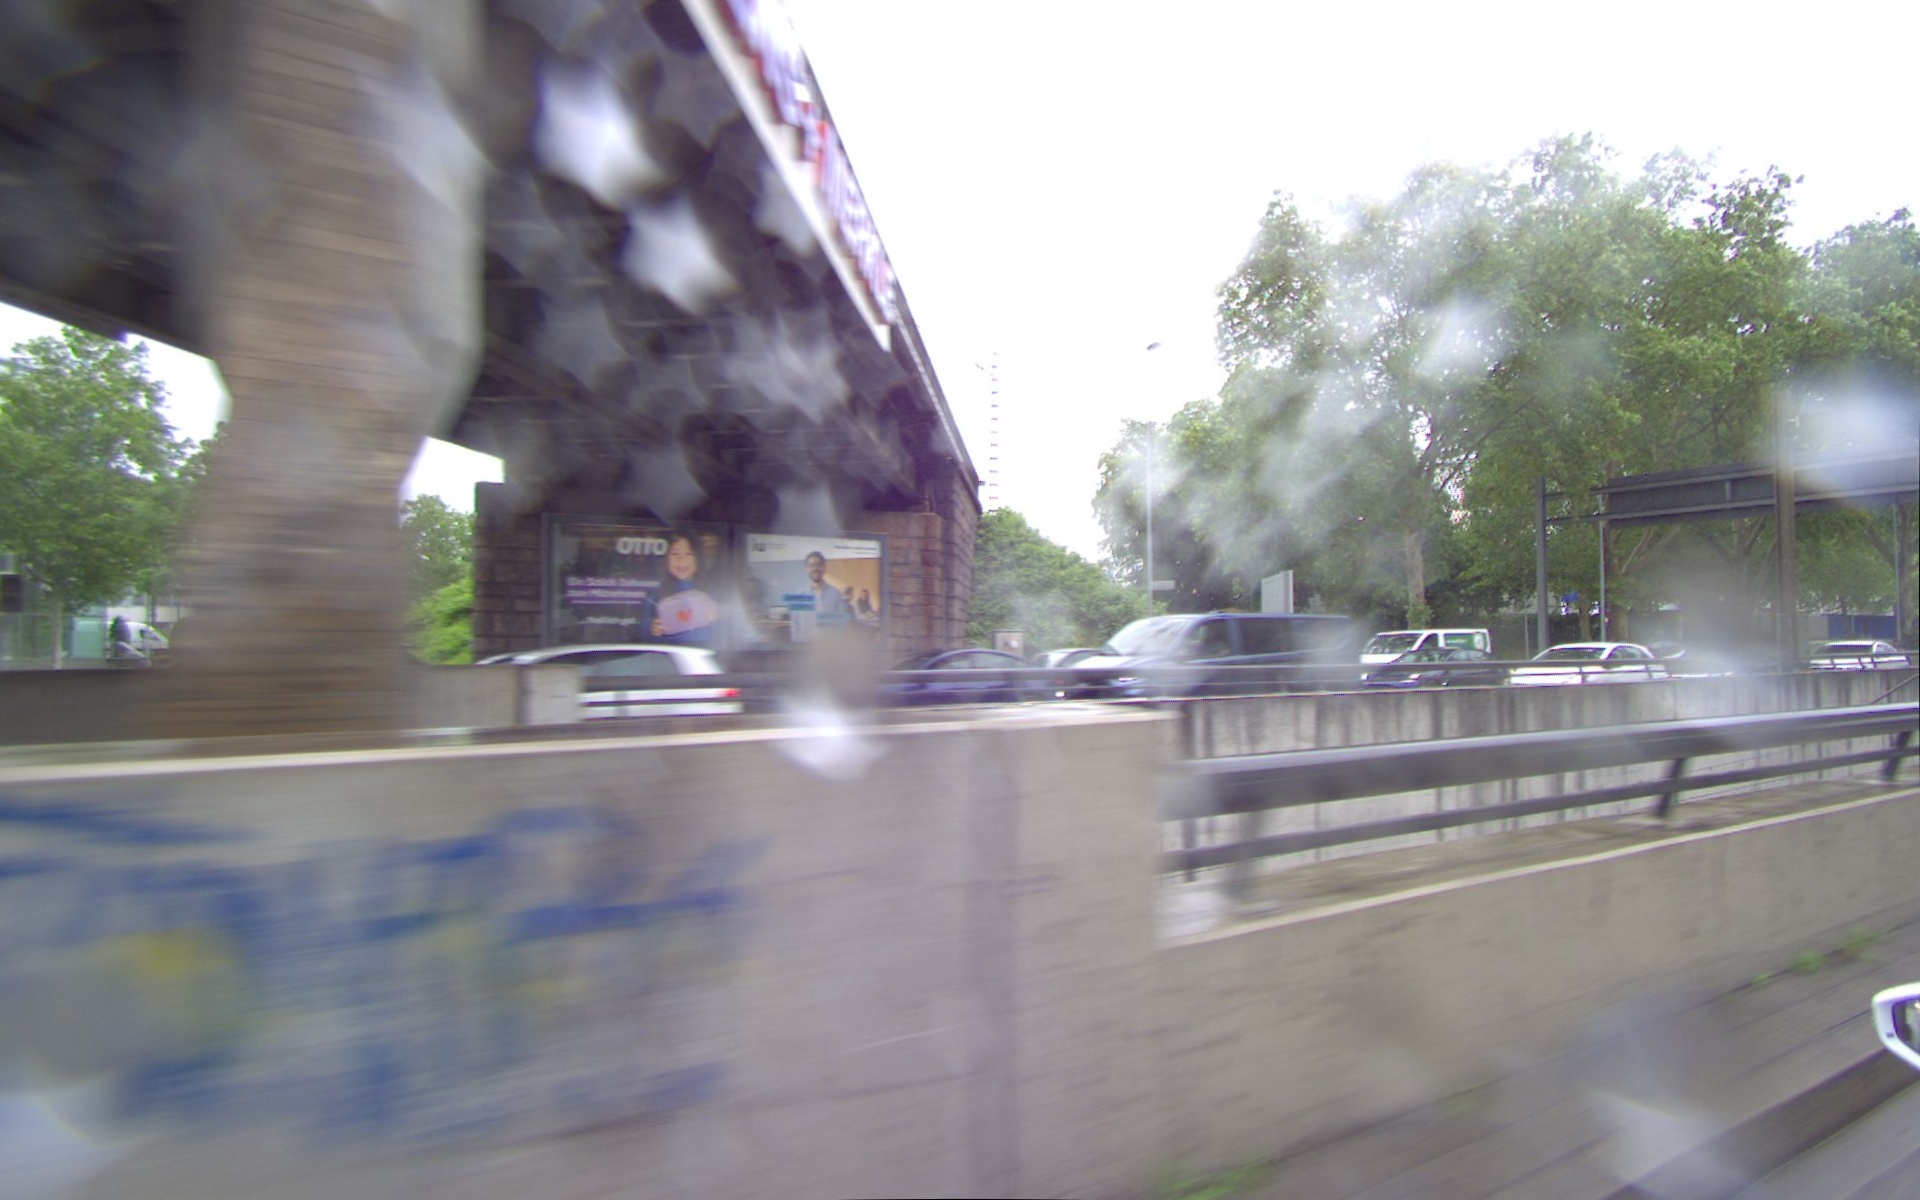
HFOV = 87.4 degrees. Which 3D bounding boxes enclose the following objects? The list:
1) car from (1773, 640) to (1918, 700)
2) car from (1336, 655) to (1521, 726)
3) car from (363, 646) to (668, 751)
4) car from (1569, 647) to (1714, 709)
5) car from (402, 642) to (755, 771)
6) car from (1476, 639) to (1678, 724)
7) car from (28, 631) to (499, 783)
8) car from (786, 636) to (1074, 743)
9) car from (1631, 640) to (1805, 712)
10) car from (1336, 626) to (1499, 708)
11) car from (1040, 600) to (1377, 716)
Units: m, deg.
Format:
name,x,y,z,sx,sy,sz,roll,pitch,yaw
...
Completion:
name,x,y,z,sx,sy,sz,roll,pitch,yaw
car,26.170,2.011,29.657,4.530,1.653,1.983,2,-3,-32
car,11.607,2.156,24.830,4.498,1.594,1.970,2,-3,-31
car,-7.341,1.579,17.013,4.451,1.594,1.976,1,-3,-22
car,19.548,2.171,28.783,4.040,1.653,1.839,1,-3,-30
car,-4.133,1.080,11.002,3.403,1.217,1.500,2,-3,-31
car,13.211,1.682,21.489,4.040,1.653,1.985,1,-3,-30
car,-8.348,1.226,12.582,4.498,1.594,1.970,2,-3,-31
car,-0.463,1.433,16.974,4.498,1.594,1.970,2,-3,-31
car,18.665,1.813,24.730,4.040,1.653,1.985,1,-3,-30
car,13.252,1.896,29.022,4.788,2.198,1.747,1,-3,-28
car,4.073,0.910,16.085,5.477,1.594,1.970,2,-3,-31
